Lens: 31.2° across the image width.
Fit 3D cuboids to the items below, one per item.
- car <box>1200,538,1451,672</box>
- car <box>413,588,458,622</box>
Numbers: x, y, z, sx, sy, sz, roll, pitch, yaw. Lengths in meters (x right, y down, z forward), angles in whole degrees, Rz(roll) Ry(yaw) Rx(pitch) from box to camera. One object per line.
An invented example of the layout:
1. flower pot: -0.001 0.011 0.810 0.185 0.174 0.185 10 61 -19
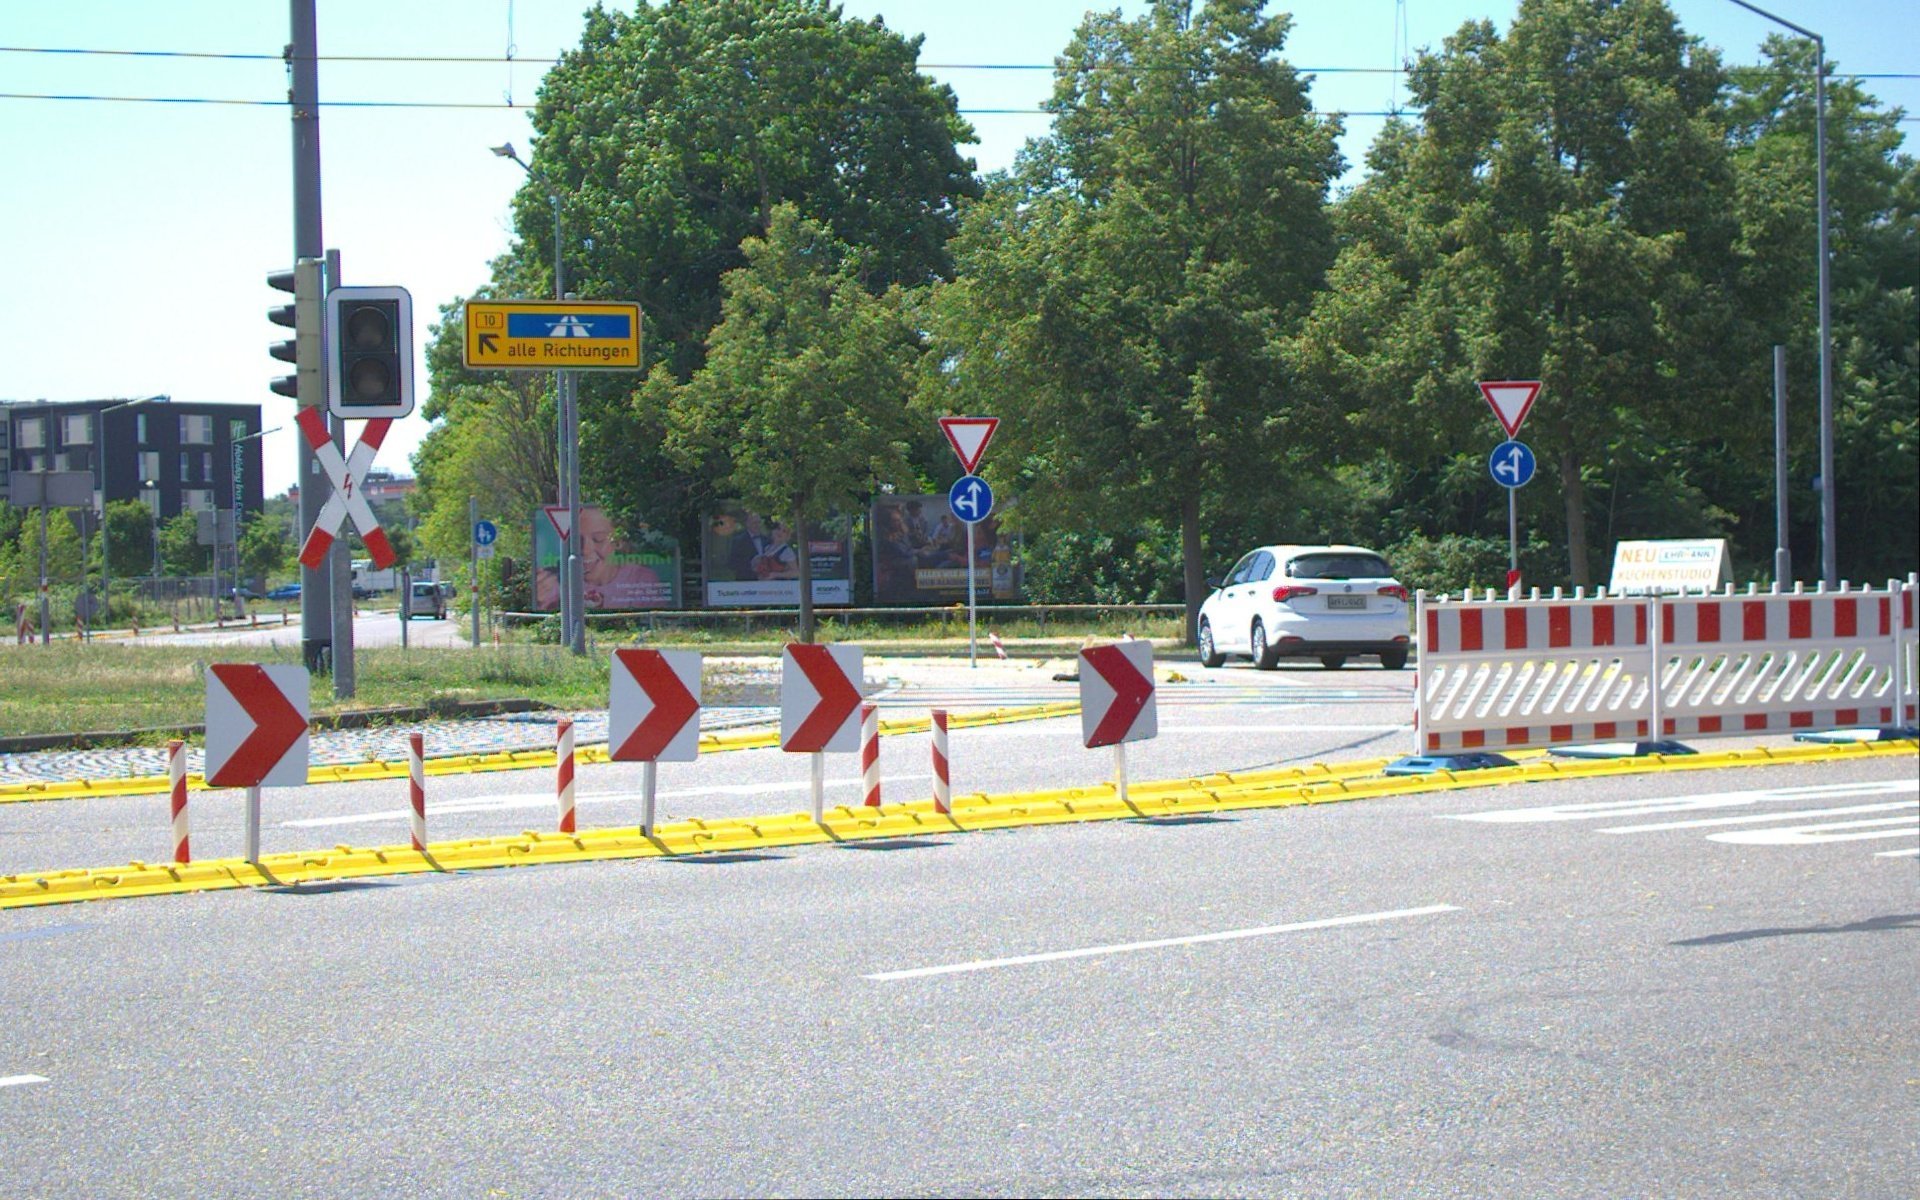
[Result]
1. car: 4.303 0.034 41.158 1.993 1.481 4.367 -1 1 -7
2. car: -22.389 0.212 146.708 1.658 1.368 3.032 -1 1 -4
